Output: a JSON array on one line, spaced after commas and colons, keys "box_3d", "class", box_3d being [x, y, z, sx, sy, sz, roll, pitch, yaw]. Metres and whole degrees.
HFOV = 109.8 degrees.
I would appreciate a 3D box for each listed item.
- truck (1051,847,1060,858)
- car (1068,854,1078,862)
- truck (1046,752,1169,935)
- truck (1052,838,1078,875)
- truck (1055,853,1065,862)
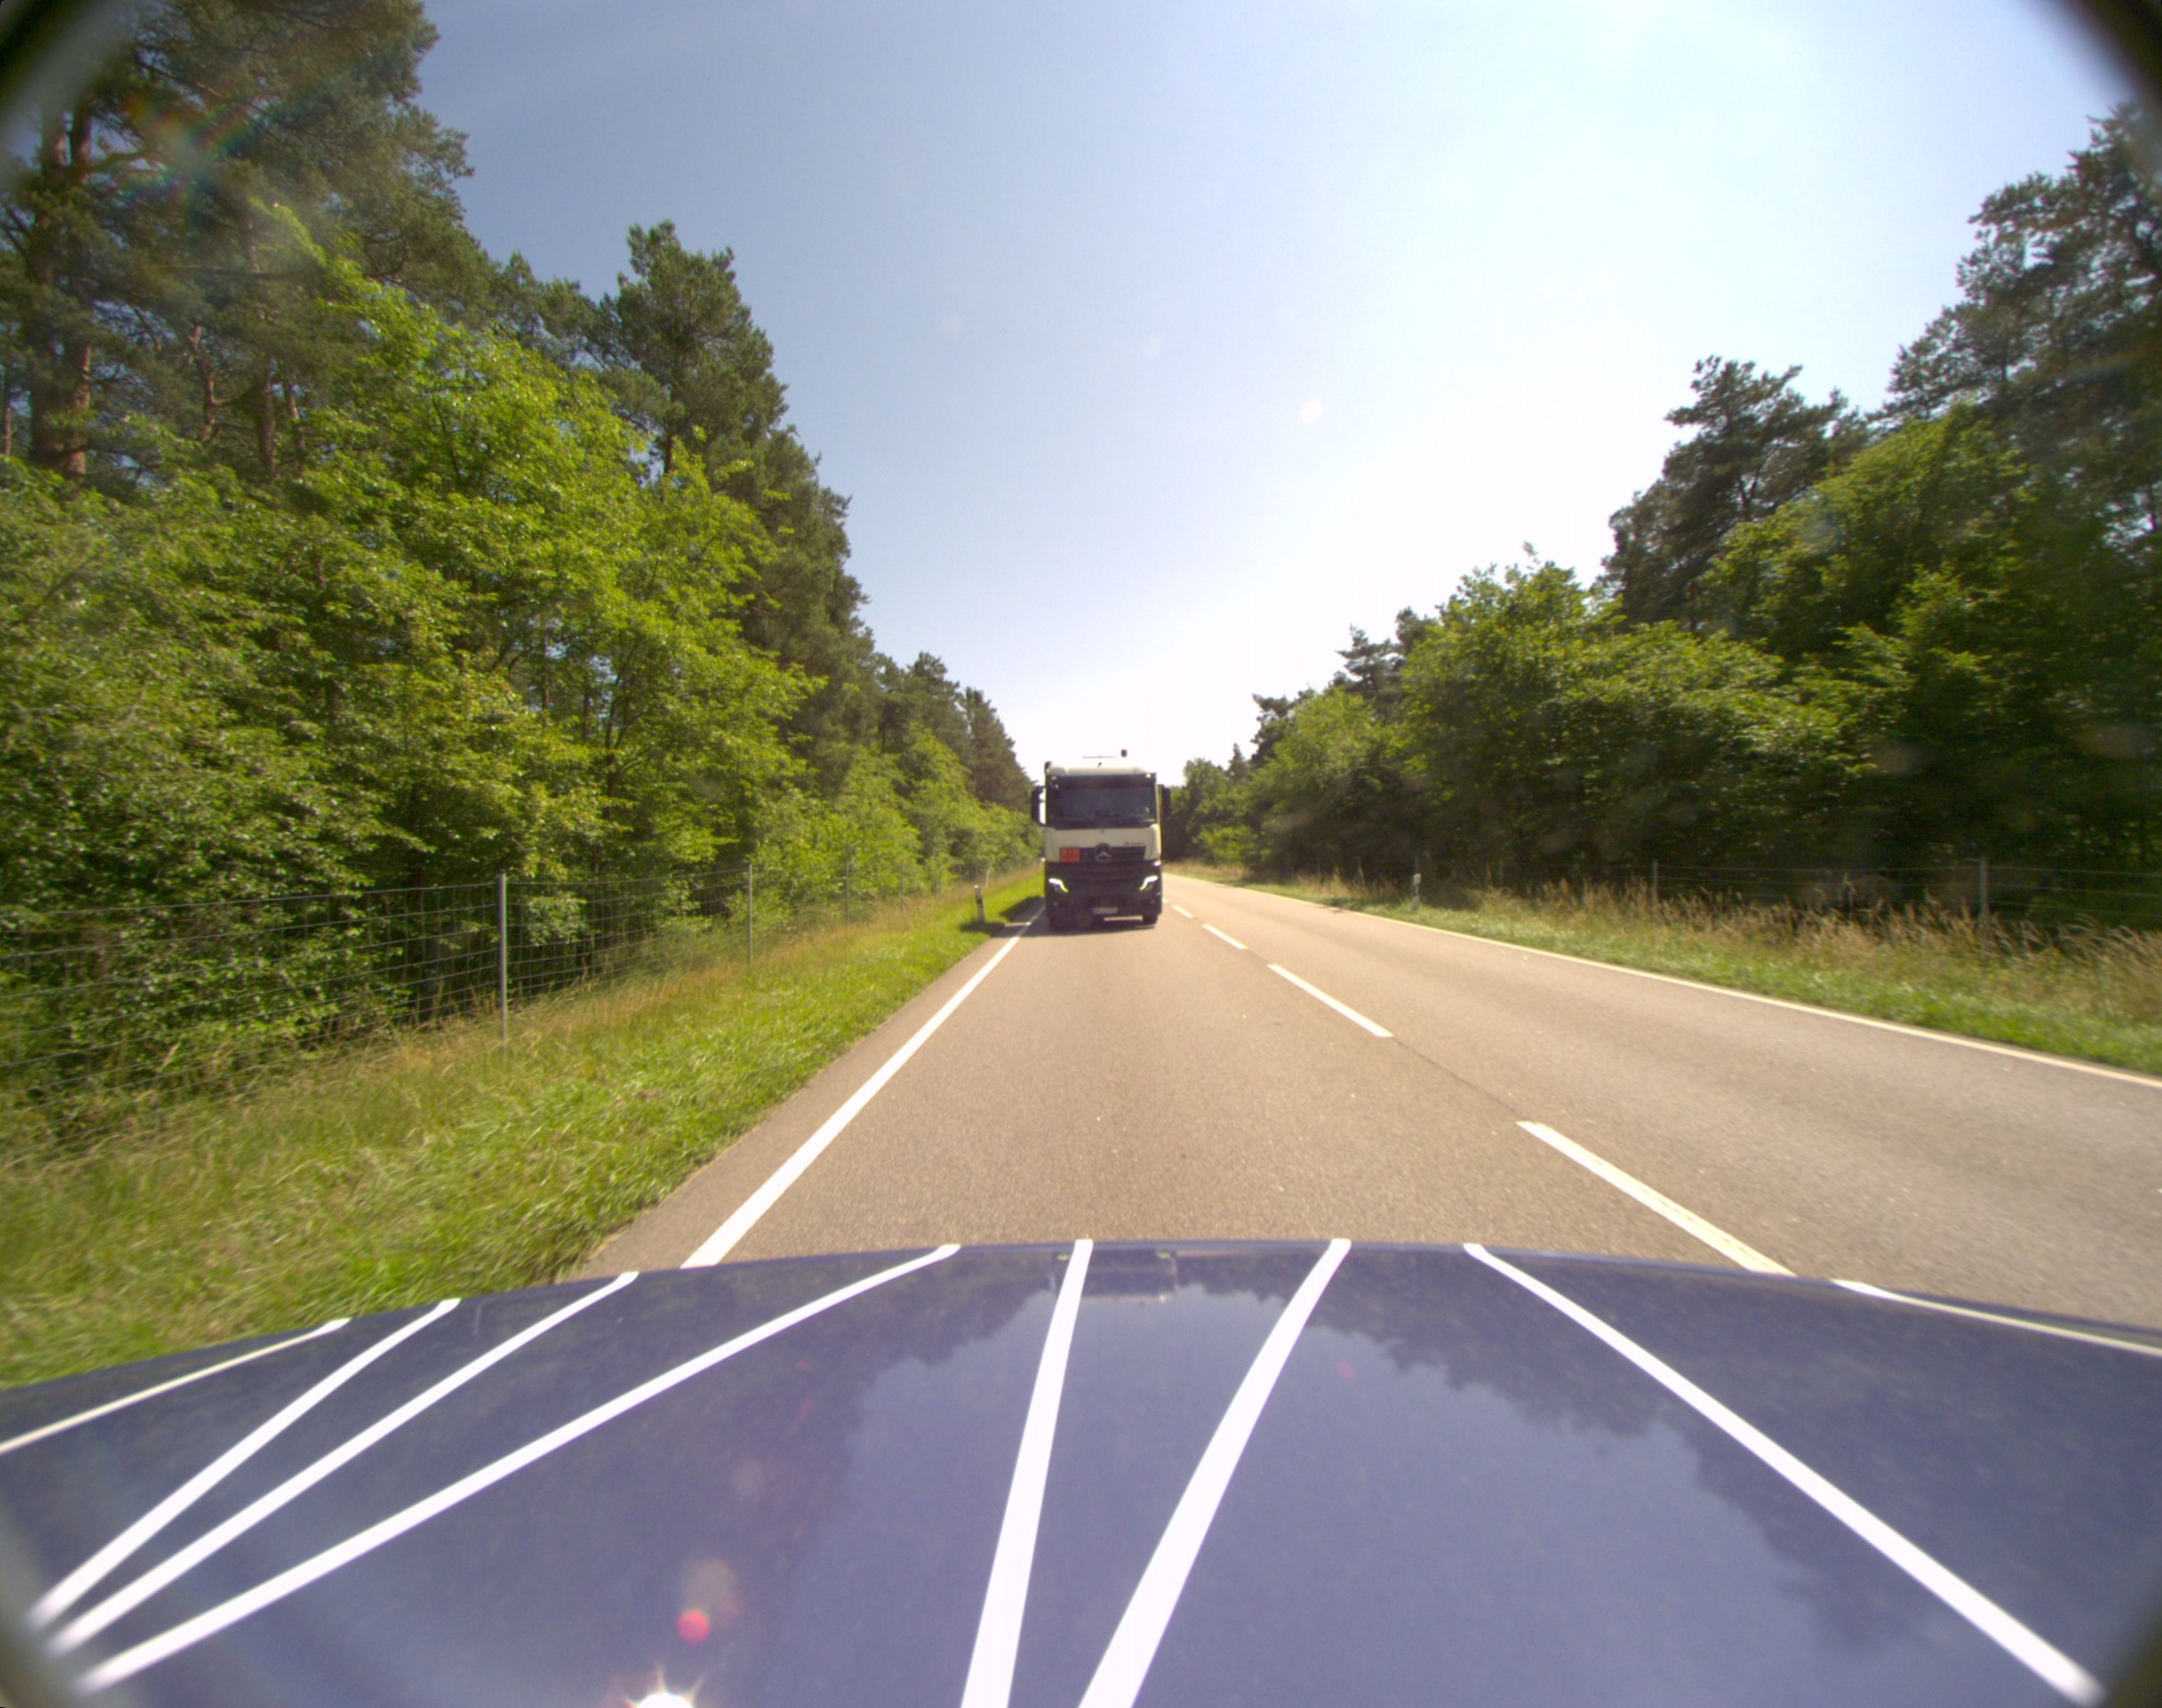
[{"box_3d": [-8.037, -0.447, 238.037, 2.495, 3.619, 6.099, 0, 0, -7], "class": "truck"}, {"box_3d": [-1.564, 0.826, 147.362, 1.885, 1.462, 3.999, -1, 0, -1], "class": "car"}, {"box_3d": [0.547, -0.198, 18.606, 2.435, 3.672, 6.457, -1, 0, 0], "class": "truck"}, {"box_3d": [-1.689, 0.285, 79.536, 2.494, 3.619, 6.103, -2, 0, -1], "class": "truck"}, {"box_3d": [-5.455, 0.853, 201.263, 2.494, 2.442, 6.103, -1, 0, -1], "class": "truck"}]
